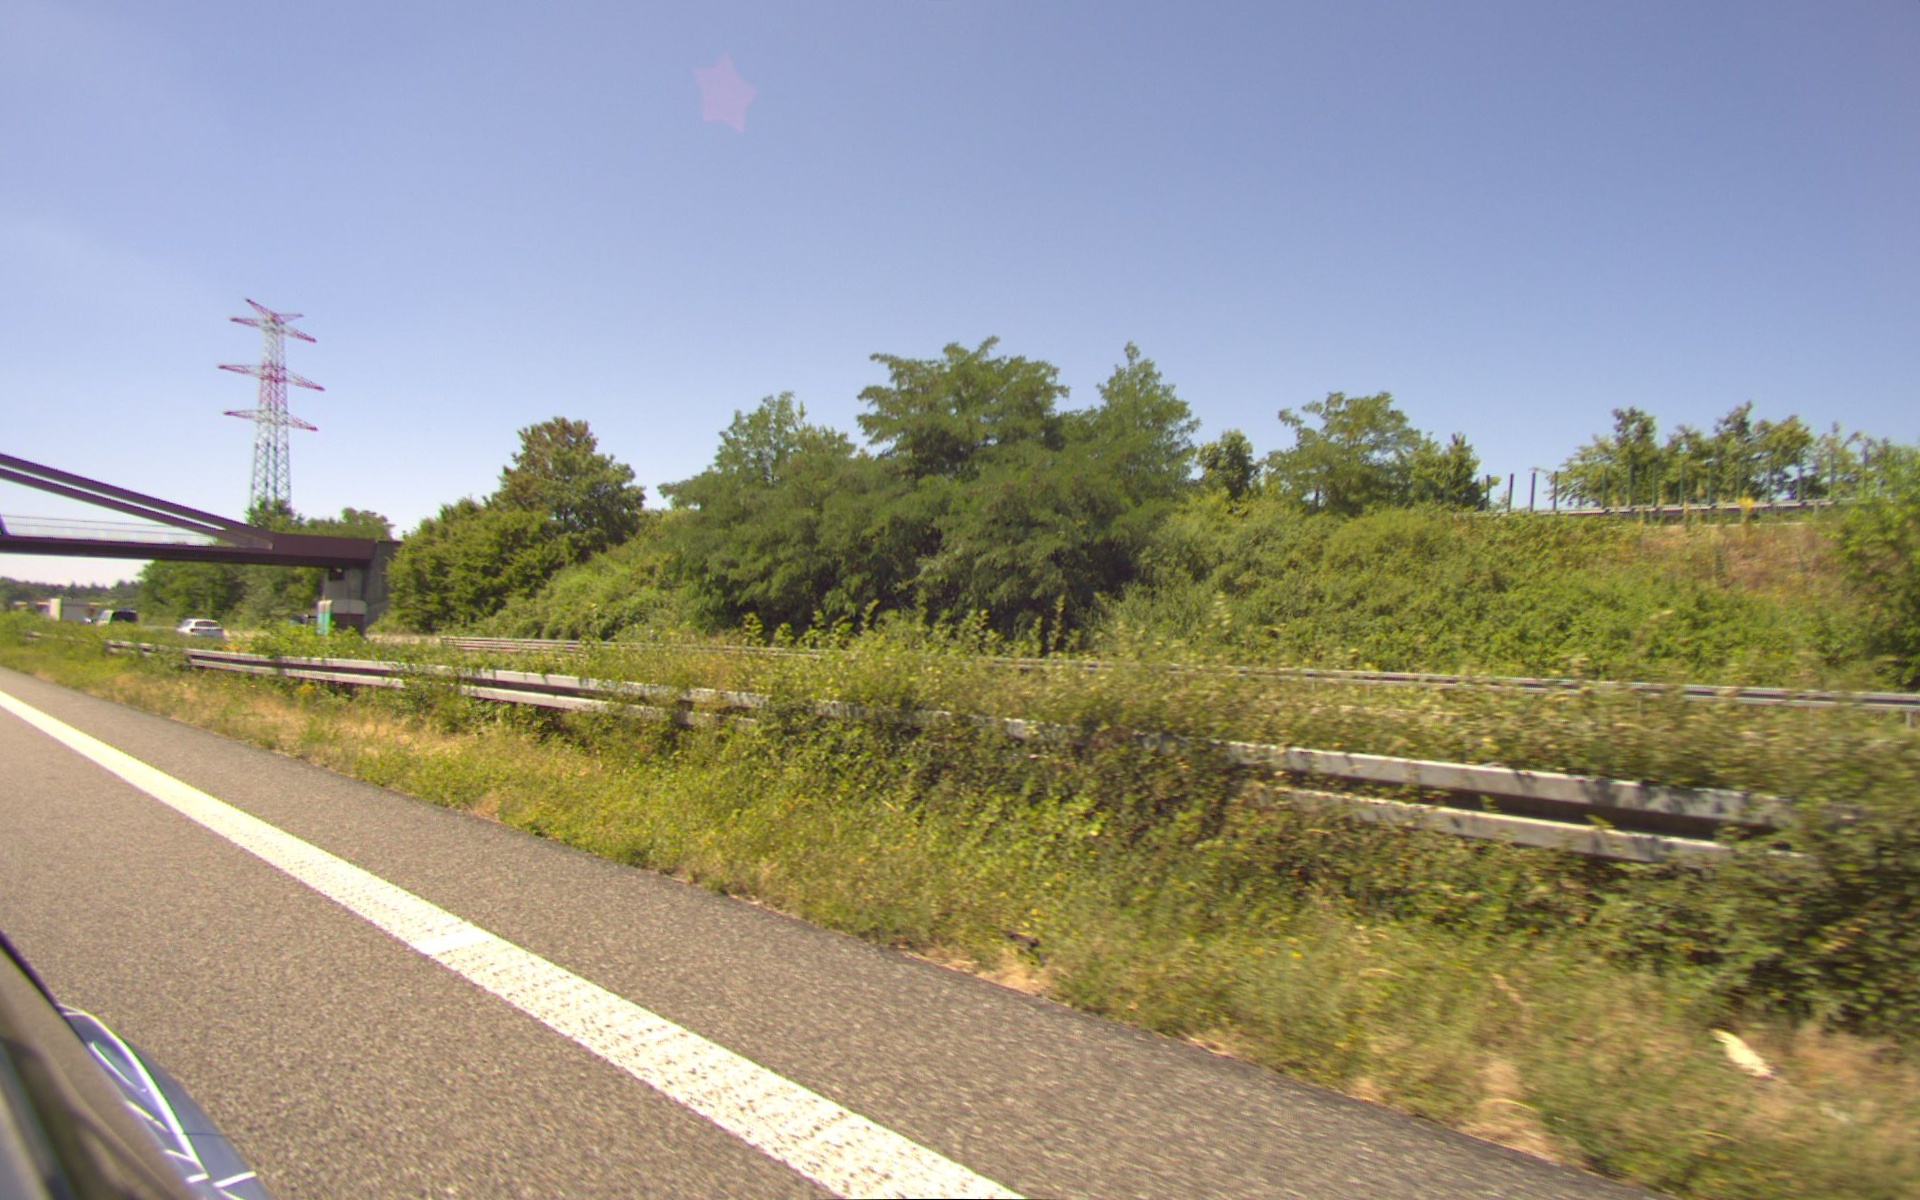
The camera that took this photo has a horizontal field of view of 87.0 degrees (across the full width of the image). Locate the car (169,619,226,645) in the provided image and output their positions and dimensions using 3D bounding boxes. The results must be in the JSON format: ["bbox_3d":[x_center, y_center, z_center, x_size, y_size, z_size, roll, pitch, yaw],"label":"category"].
[{"bbox_3d":[-43.076,1.801,57.137,3.998,1.446,1.733,-1,-2,41],"label":"car"}]

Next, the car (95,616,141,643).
[{"bbox_3d":[-59.628,2.115,71.625,3.998,1.858,1.867,-1,-2,41],"label":"car"}]

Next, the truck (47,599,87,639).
[{"bbox_3d":[-98.740,2.126,111.890,5.591,4.259,2.412,-1,-2,40],"label":"truck"}]

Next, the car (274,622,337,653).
[{"bbox_3d":[-36.229,2.060,55.978,3.998,1.644,1.867,-1,-2,41],"label":"car"}]

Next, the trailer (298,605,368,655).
[{"bbox_3d":[-33.132,1.558,53.454,4.181,2.538,1.973,-1,-2,41],"label":"trailer"}]
